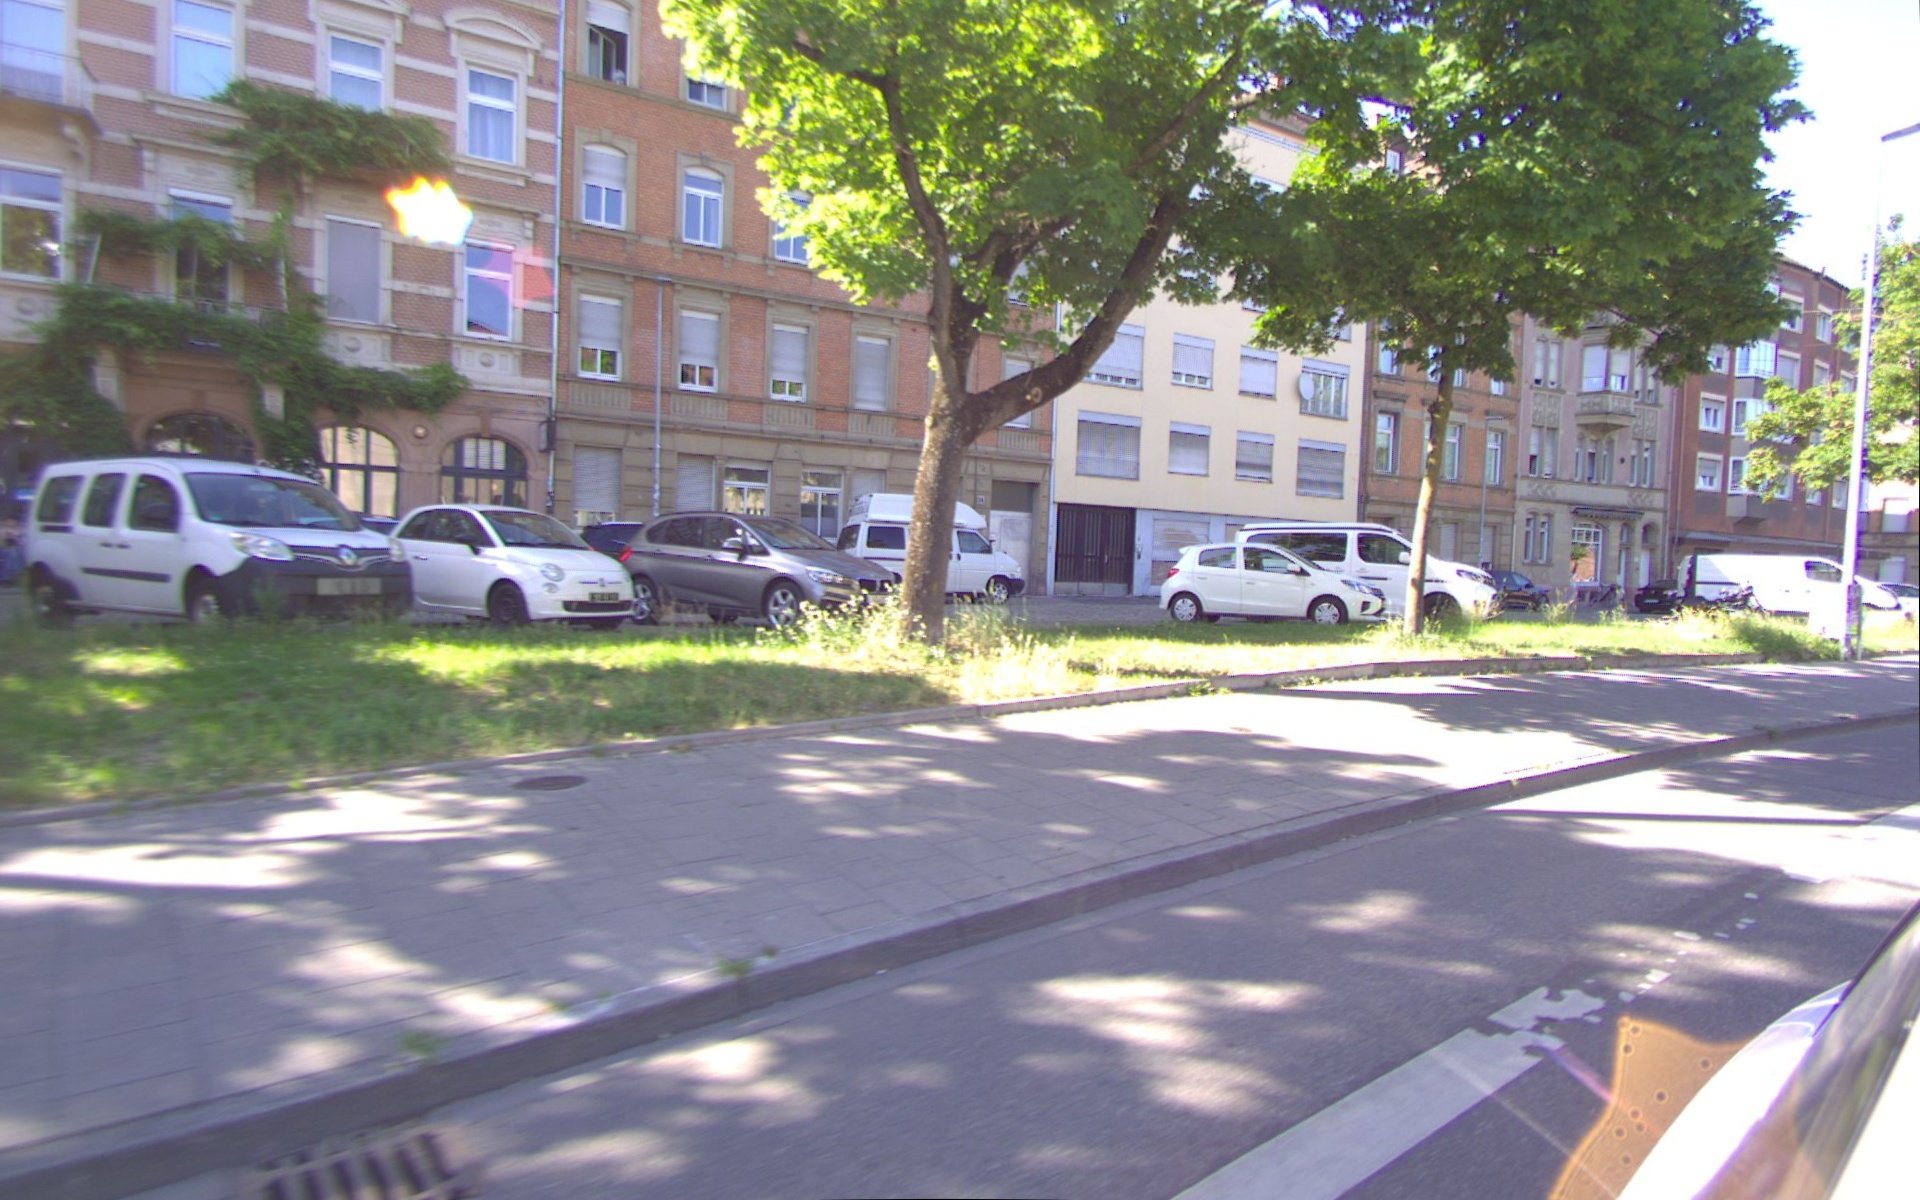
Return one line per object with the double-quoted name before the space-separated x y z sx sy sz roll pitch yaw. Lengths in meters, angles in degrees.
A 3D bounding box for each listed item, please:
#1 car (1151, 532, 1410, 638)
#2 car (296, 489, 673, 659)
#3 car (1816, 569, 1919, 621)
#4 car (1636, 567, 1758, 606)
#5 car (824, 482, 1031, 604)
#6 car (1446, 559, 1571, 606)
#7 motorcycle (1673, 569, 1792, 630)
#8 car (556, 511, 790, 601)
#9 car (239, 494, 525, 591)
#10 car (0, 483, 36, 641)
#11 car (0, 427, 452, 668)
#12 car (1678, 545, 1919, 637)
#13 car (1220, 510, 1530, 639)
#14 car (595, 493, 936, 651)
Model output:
"car" 5.586 -0.336 17.738 3.996 1.496 1.795 5 5 29
"car" -6.088 -0.451 12.755 4.847 1.667 2.077 5 5 33
"car" 29.786 -0.085 31.137 4.841 1.452 2.000 5 4 30
"car" 29.211 -0.531 40.101 4.397 1.493 2.003 -1 0 -25
"car" -0.777 -1.346 24.298 4.420 2.616 2.005 1 4 -27
"car" 19.234 -0.603 35.472 4.205 1.438 1.737 1 3 -28
"motorcycle" 20.280 -0.026 26.621 2.228 1.437 0.852 4 3 13
"car" -6.061 -0.901 21.420 4.420 1.712 2.004 1 2 -27
"car" -10.730 -1.059 19.011 4.424 1.547 2.003 1 4 -32
"car" -10.426 -0.409 9.249 3.583 1.397 1.906 3 3 29
"car" -7.835 -0.670 10.650 4.838 2.036 2.081 5 5 29
"car" 23.078 -0.327 28.031 4.837 2.100 2.002 5 4 28
"car" 7.912 -0.602 19.526 5.152 2.036 2.077 5 5 33
"car" -2.749 -0.498 13.916 4.482 1.748 1.977 5 5 33
